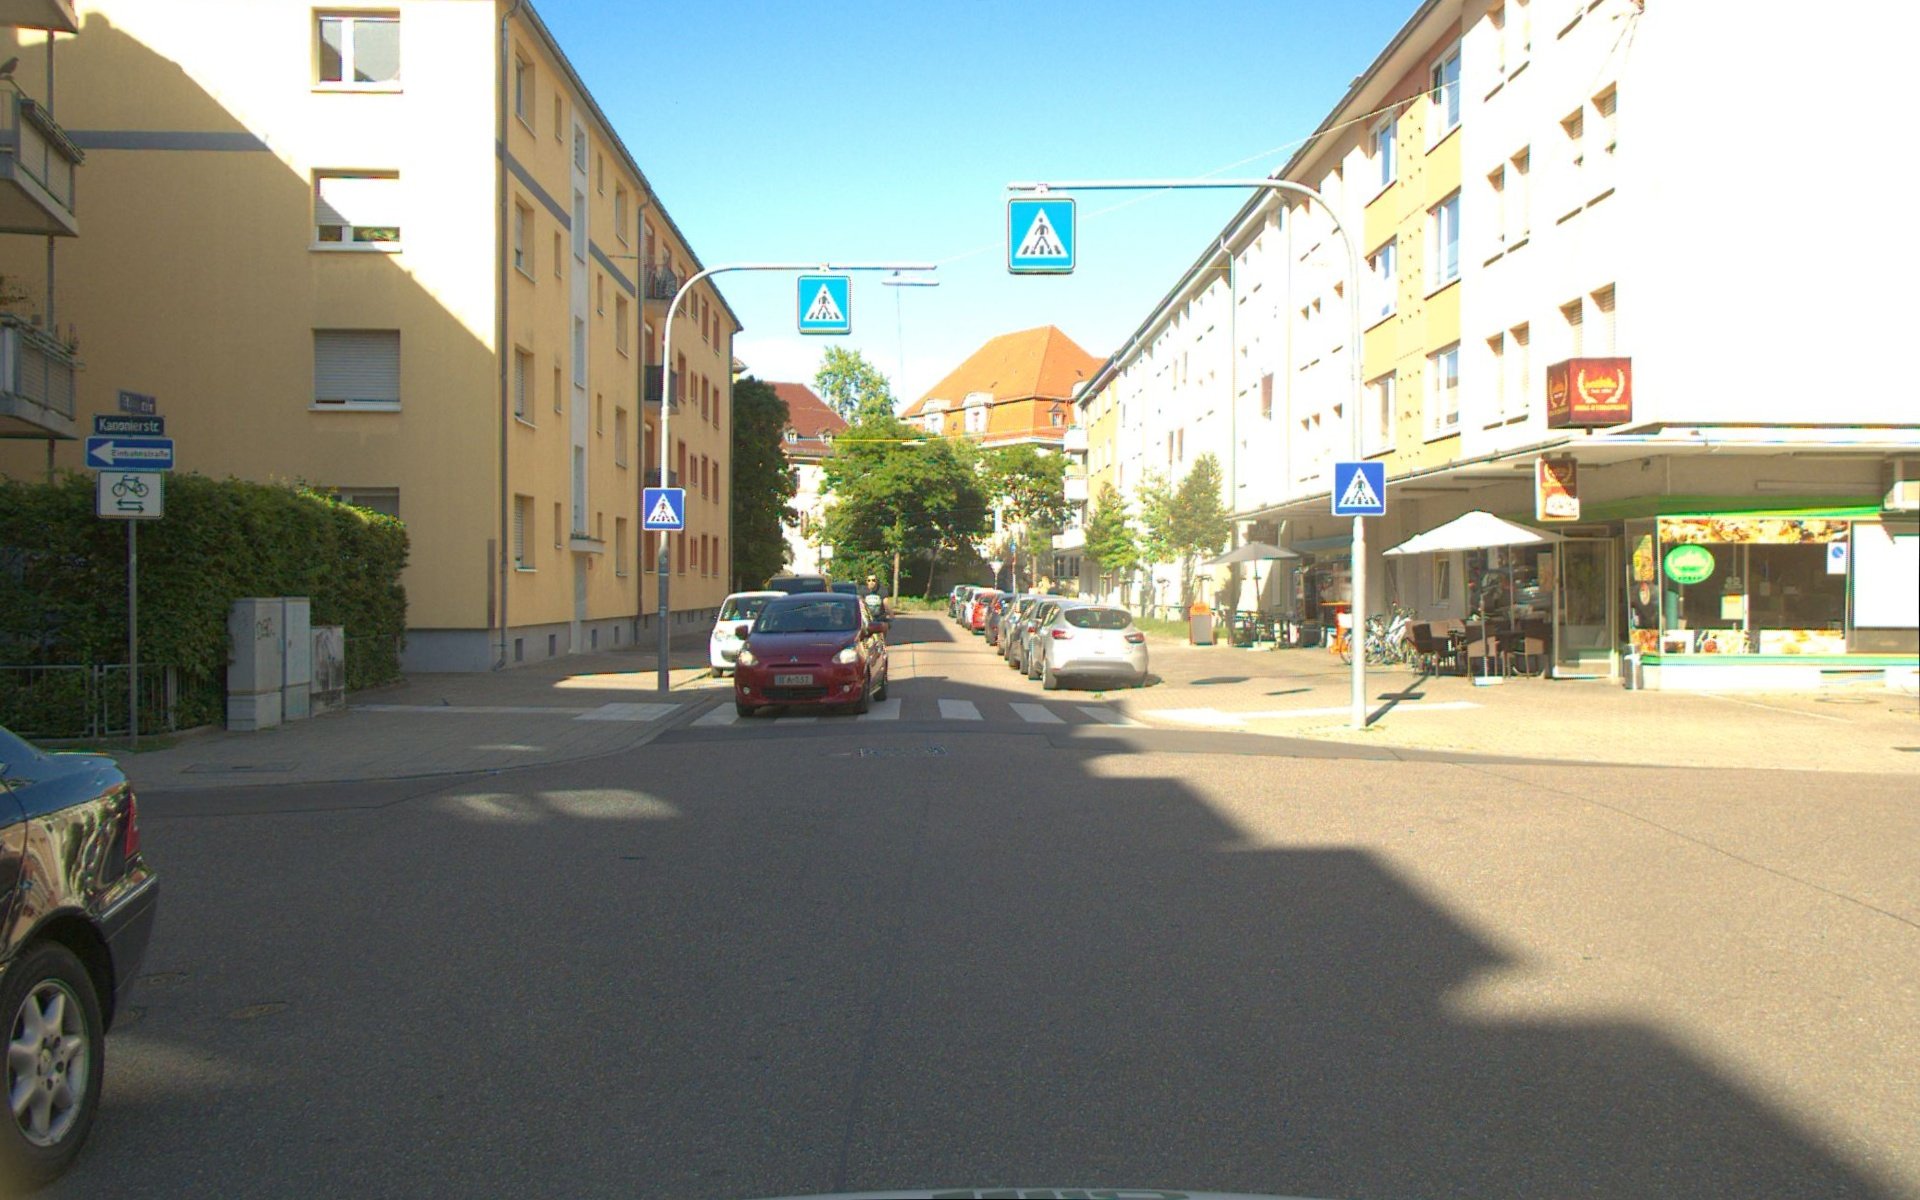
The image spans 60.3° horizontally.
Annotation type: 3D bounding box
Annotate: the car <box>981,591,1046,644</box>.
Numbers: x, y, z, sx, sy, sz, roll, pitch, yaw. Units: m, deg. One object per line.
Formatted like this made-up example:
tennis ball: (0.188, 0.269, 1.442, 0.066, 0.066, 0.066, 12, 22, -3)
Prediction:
car: (1.504, 0.480, 47.521, 1.605, 1.466, 3.417, 0, 0, -3)

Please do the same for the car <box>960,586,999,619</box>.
car: (0.851, 0.096, 74.612, 1.605, 1.466, 3.417, 0, 0, -2)

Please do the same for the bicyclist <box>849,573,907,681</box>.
bicyclist: (-1.292, 0.419, 26.201, 0.769, 1.649, 0.956, -2, 0, 3)

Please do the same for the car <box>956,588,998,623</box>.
car: (0.716, 0.216, 69.975, 1.605, 1.466, 3.417, 0, 0, -2)

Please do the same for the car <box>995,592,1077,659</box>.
car: (1.730, 0.552, 38.577, 1.605, 1.466, 3.417, 0, 0, -3)

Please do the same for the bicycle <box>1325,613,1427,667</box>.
bicycle: (7.950, 0.761, 31.609, 1.774, 0.984, 0.672, -1, 0, -12)

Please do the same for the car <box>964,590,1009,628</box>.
car: (1.022, 0.327, 65.258, 1.605, 1.466, 3.417, 0, 0, -2)

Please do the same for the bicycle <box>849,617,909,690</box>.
bicycle: (-1.273, 0.830, 26.171, 0.762, 1.088, 1.790, 0, 0, 3)

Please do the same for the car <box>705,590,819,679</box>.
car: (-3.754, 0.614, 32.036, 1.755, 1.506, 4.098, -2, 1, -1)

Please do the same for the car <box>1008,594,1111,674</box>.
car: (1.917, 0.633, 32.749, 1.657, 1.466, 3.417, 0, 0, -3)

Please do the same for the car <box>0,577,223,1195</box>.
car: (-3.058, 0.726, 2.952, 1.670, 1.440, 4.371, -5, 0, -4)

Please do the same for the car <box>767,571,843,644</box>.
car: (-4.029, 0.169, 43.478, 1.663, 1.810, 4.098, 0, 0, -1)

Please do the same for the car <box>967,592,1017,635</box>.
car: (1.118, 0.452, 59.239, 1.605, 1.466, 3.417, 0, 0, -2)

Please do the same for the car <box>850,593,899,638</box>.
car: (-2.917, 0.519, 56.443, 1.605, 1.466, 3.417, 0, 0, -3)

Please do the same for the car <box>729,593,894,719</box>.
car: (-1.820, 0.653, 21.184, 1.662, 1.466, 3.420, 0, 0, 2)

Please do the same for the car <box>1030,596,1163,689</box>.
car: (2.257, 0.672, 28.074, 1.808, 1.466, 3.417, -1, 0, -3)

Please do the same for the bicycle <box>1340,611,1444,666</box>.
bicycle: (8.088, 0.710, 30.985, 1.774, 0.984, 0.672, -1, 0, -12)

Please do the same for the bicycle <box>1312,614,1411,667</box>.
bicycle: (7.819, 0.786, 32.234, 1.774, 0.984, 0.672, -1, 0, -12)

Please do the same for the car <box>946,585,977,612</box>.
car: (0.088, -0.087, 93.798, 1.605, 1.466, 3.417, 0, 0, -2)
